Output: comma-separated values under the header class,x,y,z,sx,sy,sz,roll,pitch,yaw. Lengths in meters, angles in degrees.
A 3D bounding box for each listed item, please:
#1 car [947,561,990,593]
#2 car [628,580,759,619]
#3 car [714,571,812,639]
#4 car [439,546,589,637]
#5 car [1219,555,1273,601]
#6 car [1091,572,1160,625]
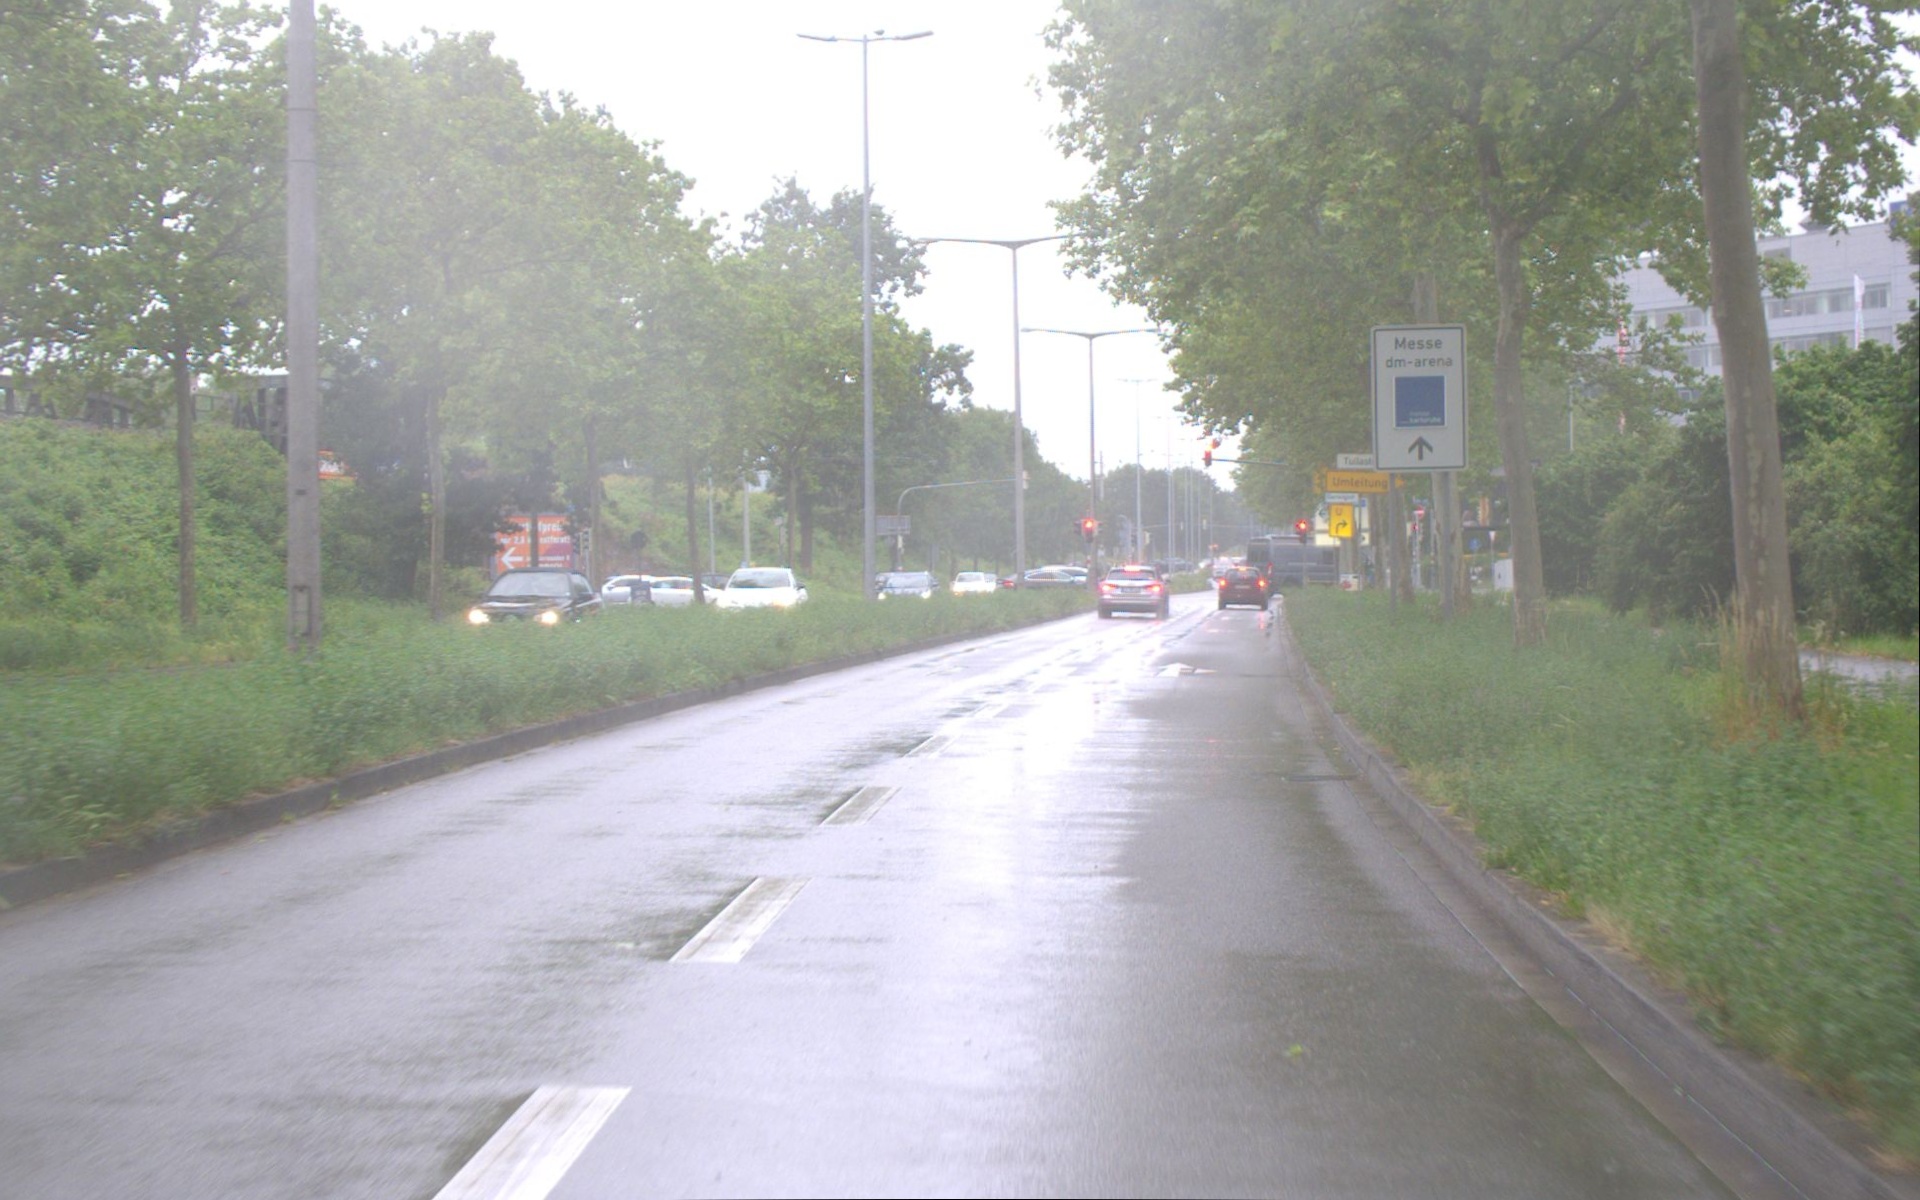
class,x,y,z,sx,sy,sz,roll,pitch,yaw
car,0.436,-1.148,169.286,1.713,1.525,3.999,-1,0,6
car,-9.767,-0.022,126.262,4.642,1.440,1.937,0,0,0
car,-4.508,0.100,79.145,1.702,1.489,4.204,0,1,4
car,-7.187,-0.164,55.702,1.631,1.421,4.000,0,1,4
car,10.096,-0.775,121.264,1.796,1.532,4.386,1,0,6
car,4.622,-0.059,95.520,1.690,1.428,4.573,0,0,6
